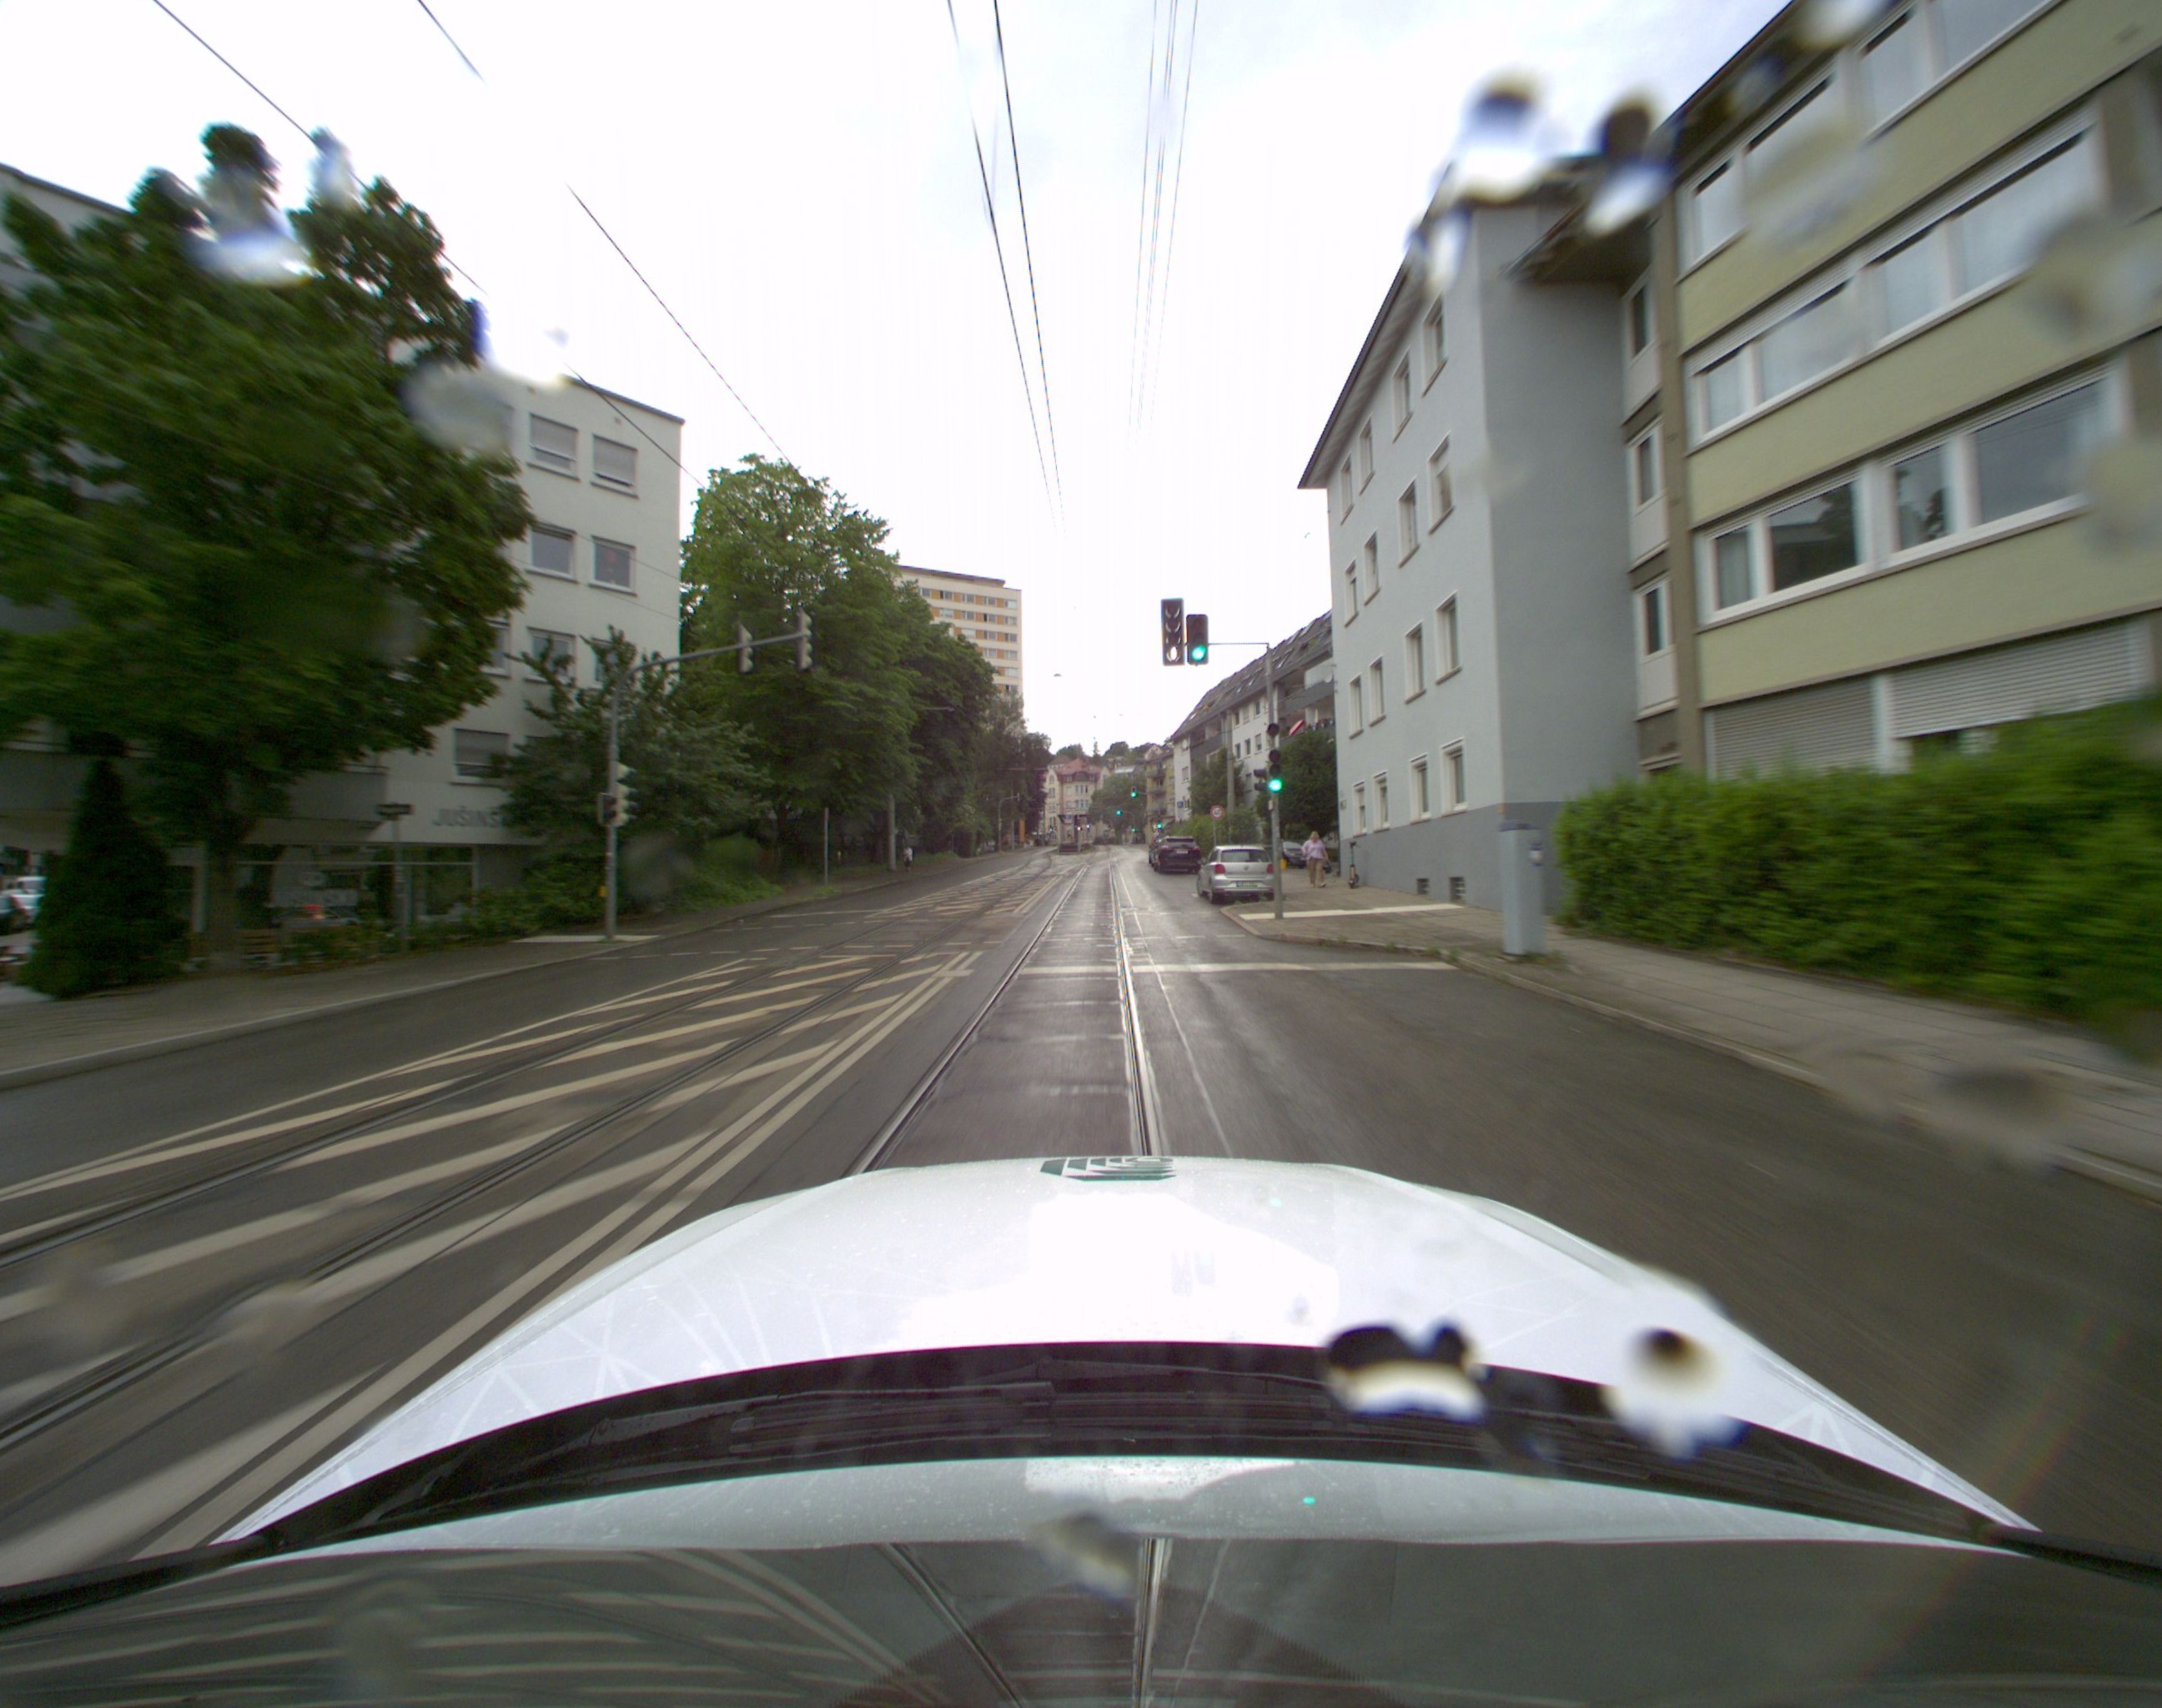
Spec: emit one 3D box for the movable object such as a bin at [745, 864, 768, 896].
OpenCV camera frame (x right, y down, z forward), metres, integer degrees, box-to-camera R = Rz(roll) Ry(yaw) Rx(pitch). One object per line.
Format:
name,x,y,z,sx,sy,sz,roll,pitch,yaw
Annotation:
movable object such as a bin,-12.923,1.049,32.416,0.671,1.234,0.619,2,-4,-40

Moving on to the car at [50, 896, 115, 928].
car,-59.213,3.407,48.350,3.950,1.816,2.011,-4,-5,44

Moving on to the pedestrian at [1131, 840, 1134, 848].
pedestrian,8.936,-1.719,141.248,0.577,1.467,0.542,0,-3,-6

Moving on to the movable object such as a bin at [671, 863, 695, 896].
movable object such as a bin,-14.935,0.965,30.552,0.671,1.234,0.619,2,-4,-40

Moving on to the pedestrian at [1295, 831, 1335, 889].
pedestrian,6.672,0.147,23.234,0.879,1.583,0.802,-3,2,3

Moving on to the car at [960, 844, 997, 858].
car,-11.836,-0.365,94.241,3.951,1.406,1.692,-2,-4,24

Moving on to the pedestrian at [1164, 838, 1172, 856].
pedestrian,7.683,-0.616,71.986,0.641,1.629,0.700,-1,-1,5

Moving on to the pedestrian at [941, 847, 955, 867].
pedestrian,-11.542,0.282,70.829,0.907,1.678,0.745,-2,-4,28

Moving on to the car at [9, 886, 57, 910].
car,-90.789,3.800,70.569,3.950,2.014,2.011,-4,-5,44

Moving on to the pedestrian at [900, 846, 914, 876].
pedestrian,-9.475,0.380,44.348,0.581,1.600,0.868,1,-1,-2

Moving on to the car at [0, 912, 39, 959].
car,-45.568,3.400,34.023,3.950,1.860,2.011,-4,-5,44

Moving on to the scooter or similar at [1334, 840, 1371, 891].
scooter or similar,7.446,0.295,22.394,0.571,1.249,1.613,-5,2,7

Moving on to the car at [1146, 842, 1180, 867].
car,4.918,0.019,49.106,1.699,1.426,3.863,0,0,1

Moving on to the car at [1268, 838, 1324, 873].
car,10.575,0.106,40.302,1.714,1.515,4.204,-1,-3,1

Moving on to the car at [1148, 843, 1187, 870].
car,4.642,0.109,44.087,1.699,1.428,4.251,0,0,1

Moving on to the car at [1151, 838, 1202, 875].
car,4.415,0.098,38.230,1.900,1.641,4.690,0,0,1

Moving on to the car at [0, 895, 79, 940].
car,-48.918,2.935,38.179,3.950,2.014,2.011,-4,-5,44

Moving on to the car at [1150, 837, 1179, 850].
car,11.763,-1.466,114.764,3.973,1.646,1.808,-1,-2,1

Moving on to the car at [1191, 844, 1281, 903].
car,4.048,0.465,21.902,1.699,1.433,4.102,0,0,1

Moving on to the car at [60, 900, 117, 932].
car,-66.688,4.141,54.787,3.950,2.014,2.011,-4,-5,44
